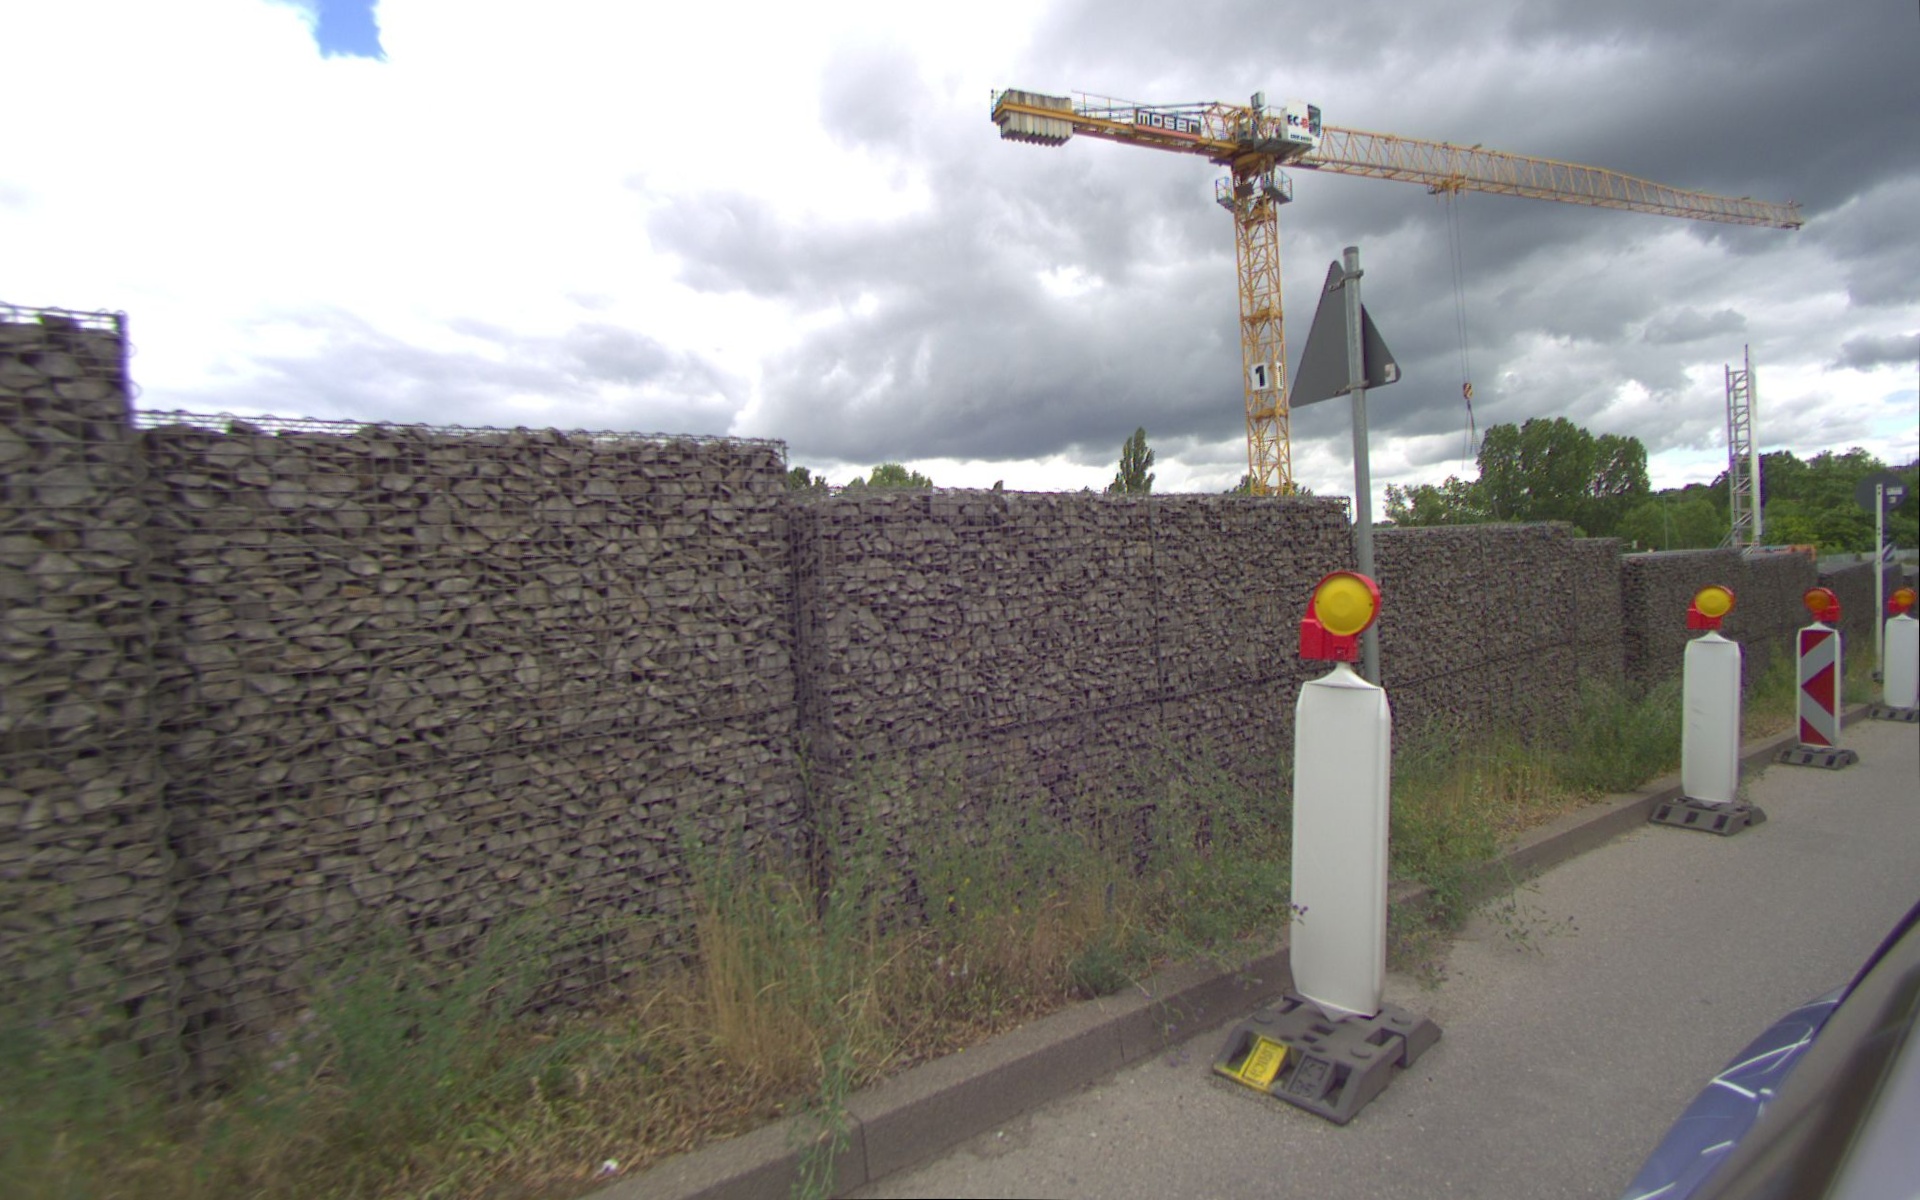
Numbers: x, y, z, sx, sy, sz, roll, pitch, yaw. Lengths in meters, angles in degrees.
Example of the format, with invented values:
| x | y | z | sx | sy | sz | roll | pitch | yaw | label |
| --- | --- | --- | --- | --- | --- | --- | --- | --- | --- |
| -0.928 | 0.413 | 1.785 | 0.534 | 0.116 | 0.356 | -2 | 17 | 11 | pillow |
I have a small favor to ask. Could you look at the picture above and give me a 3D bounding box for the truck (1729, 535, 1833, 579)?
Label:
| x | y | z | sx | sy | sz | roll | pitch | yaw | label |
| --- | --- | --- | --- | --- | --- | --- | --- | --- | --- |
| 84.107 | -4.339 | 104.013 | 2.988 | 3.946 | 9.989 | -3 | 0 | 5 | truck |
